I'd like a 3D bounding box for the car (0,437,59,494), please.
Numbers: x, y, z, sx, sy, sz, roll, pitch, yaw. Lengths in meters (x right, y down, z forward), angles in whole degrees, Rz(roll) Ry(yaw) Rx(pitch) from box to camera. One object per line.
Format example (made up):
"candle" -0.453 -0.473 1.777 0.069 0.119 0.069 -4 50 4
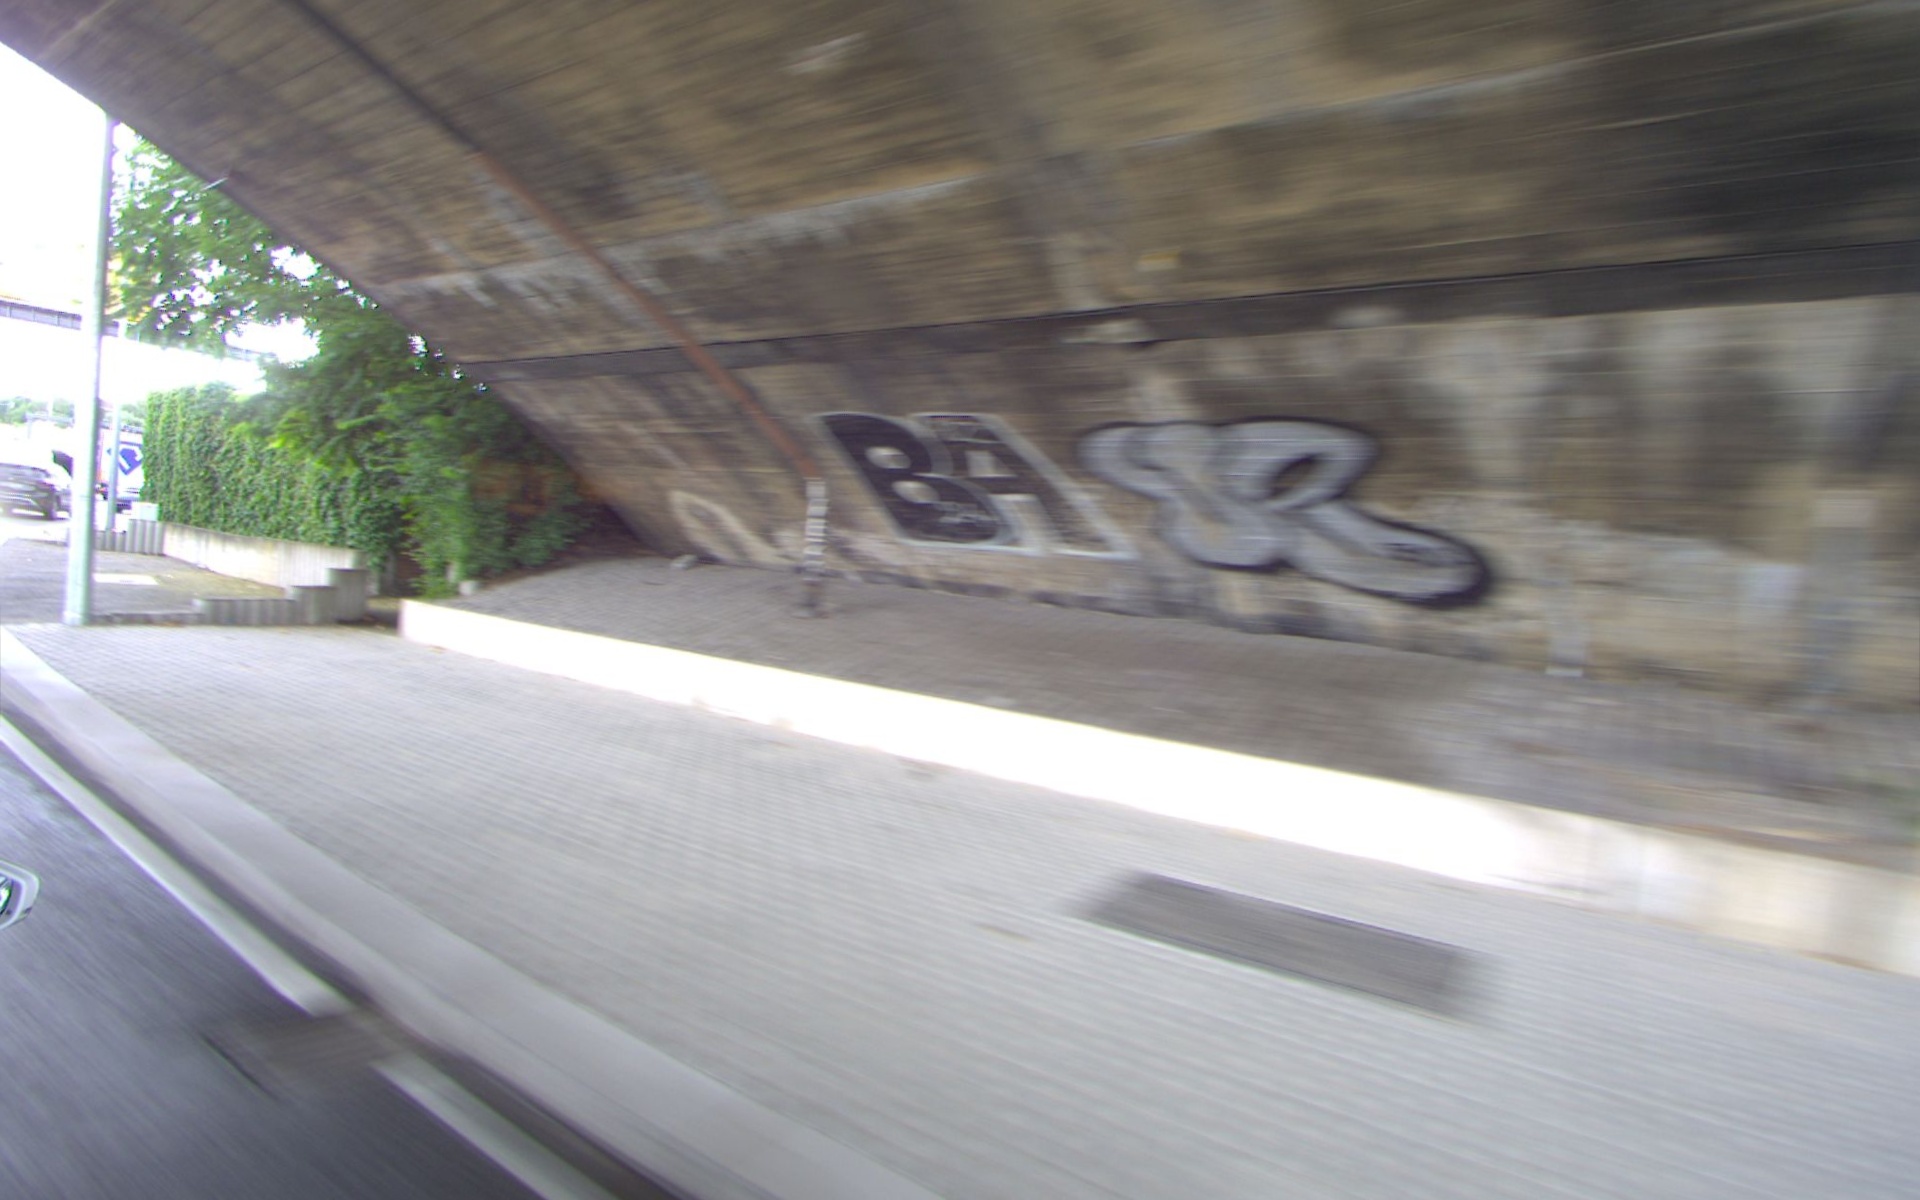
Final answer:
"car" -49.507 -7.096 53.053 1.981 2.573 5.126 7 1 -34

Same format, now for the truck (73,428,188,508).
"truck" -51.402 -7.935 62.867 3.295 3.857 16.442 7 1 -33

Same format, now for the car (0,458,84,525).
"car" -26.775 -3.124 28.871 1.738 1.645 3.810 8 0 -32

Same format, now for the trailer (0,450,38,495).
"trailer" -47.171 -6.337 49.415 1.981 1.982 4.040 7 1 -34

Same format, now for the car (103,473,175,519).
"car" -32.065 -4.021 39.366 1.489 1.487 3.372 6 1 -29
